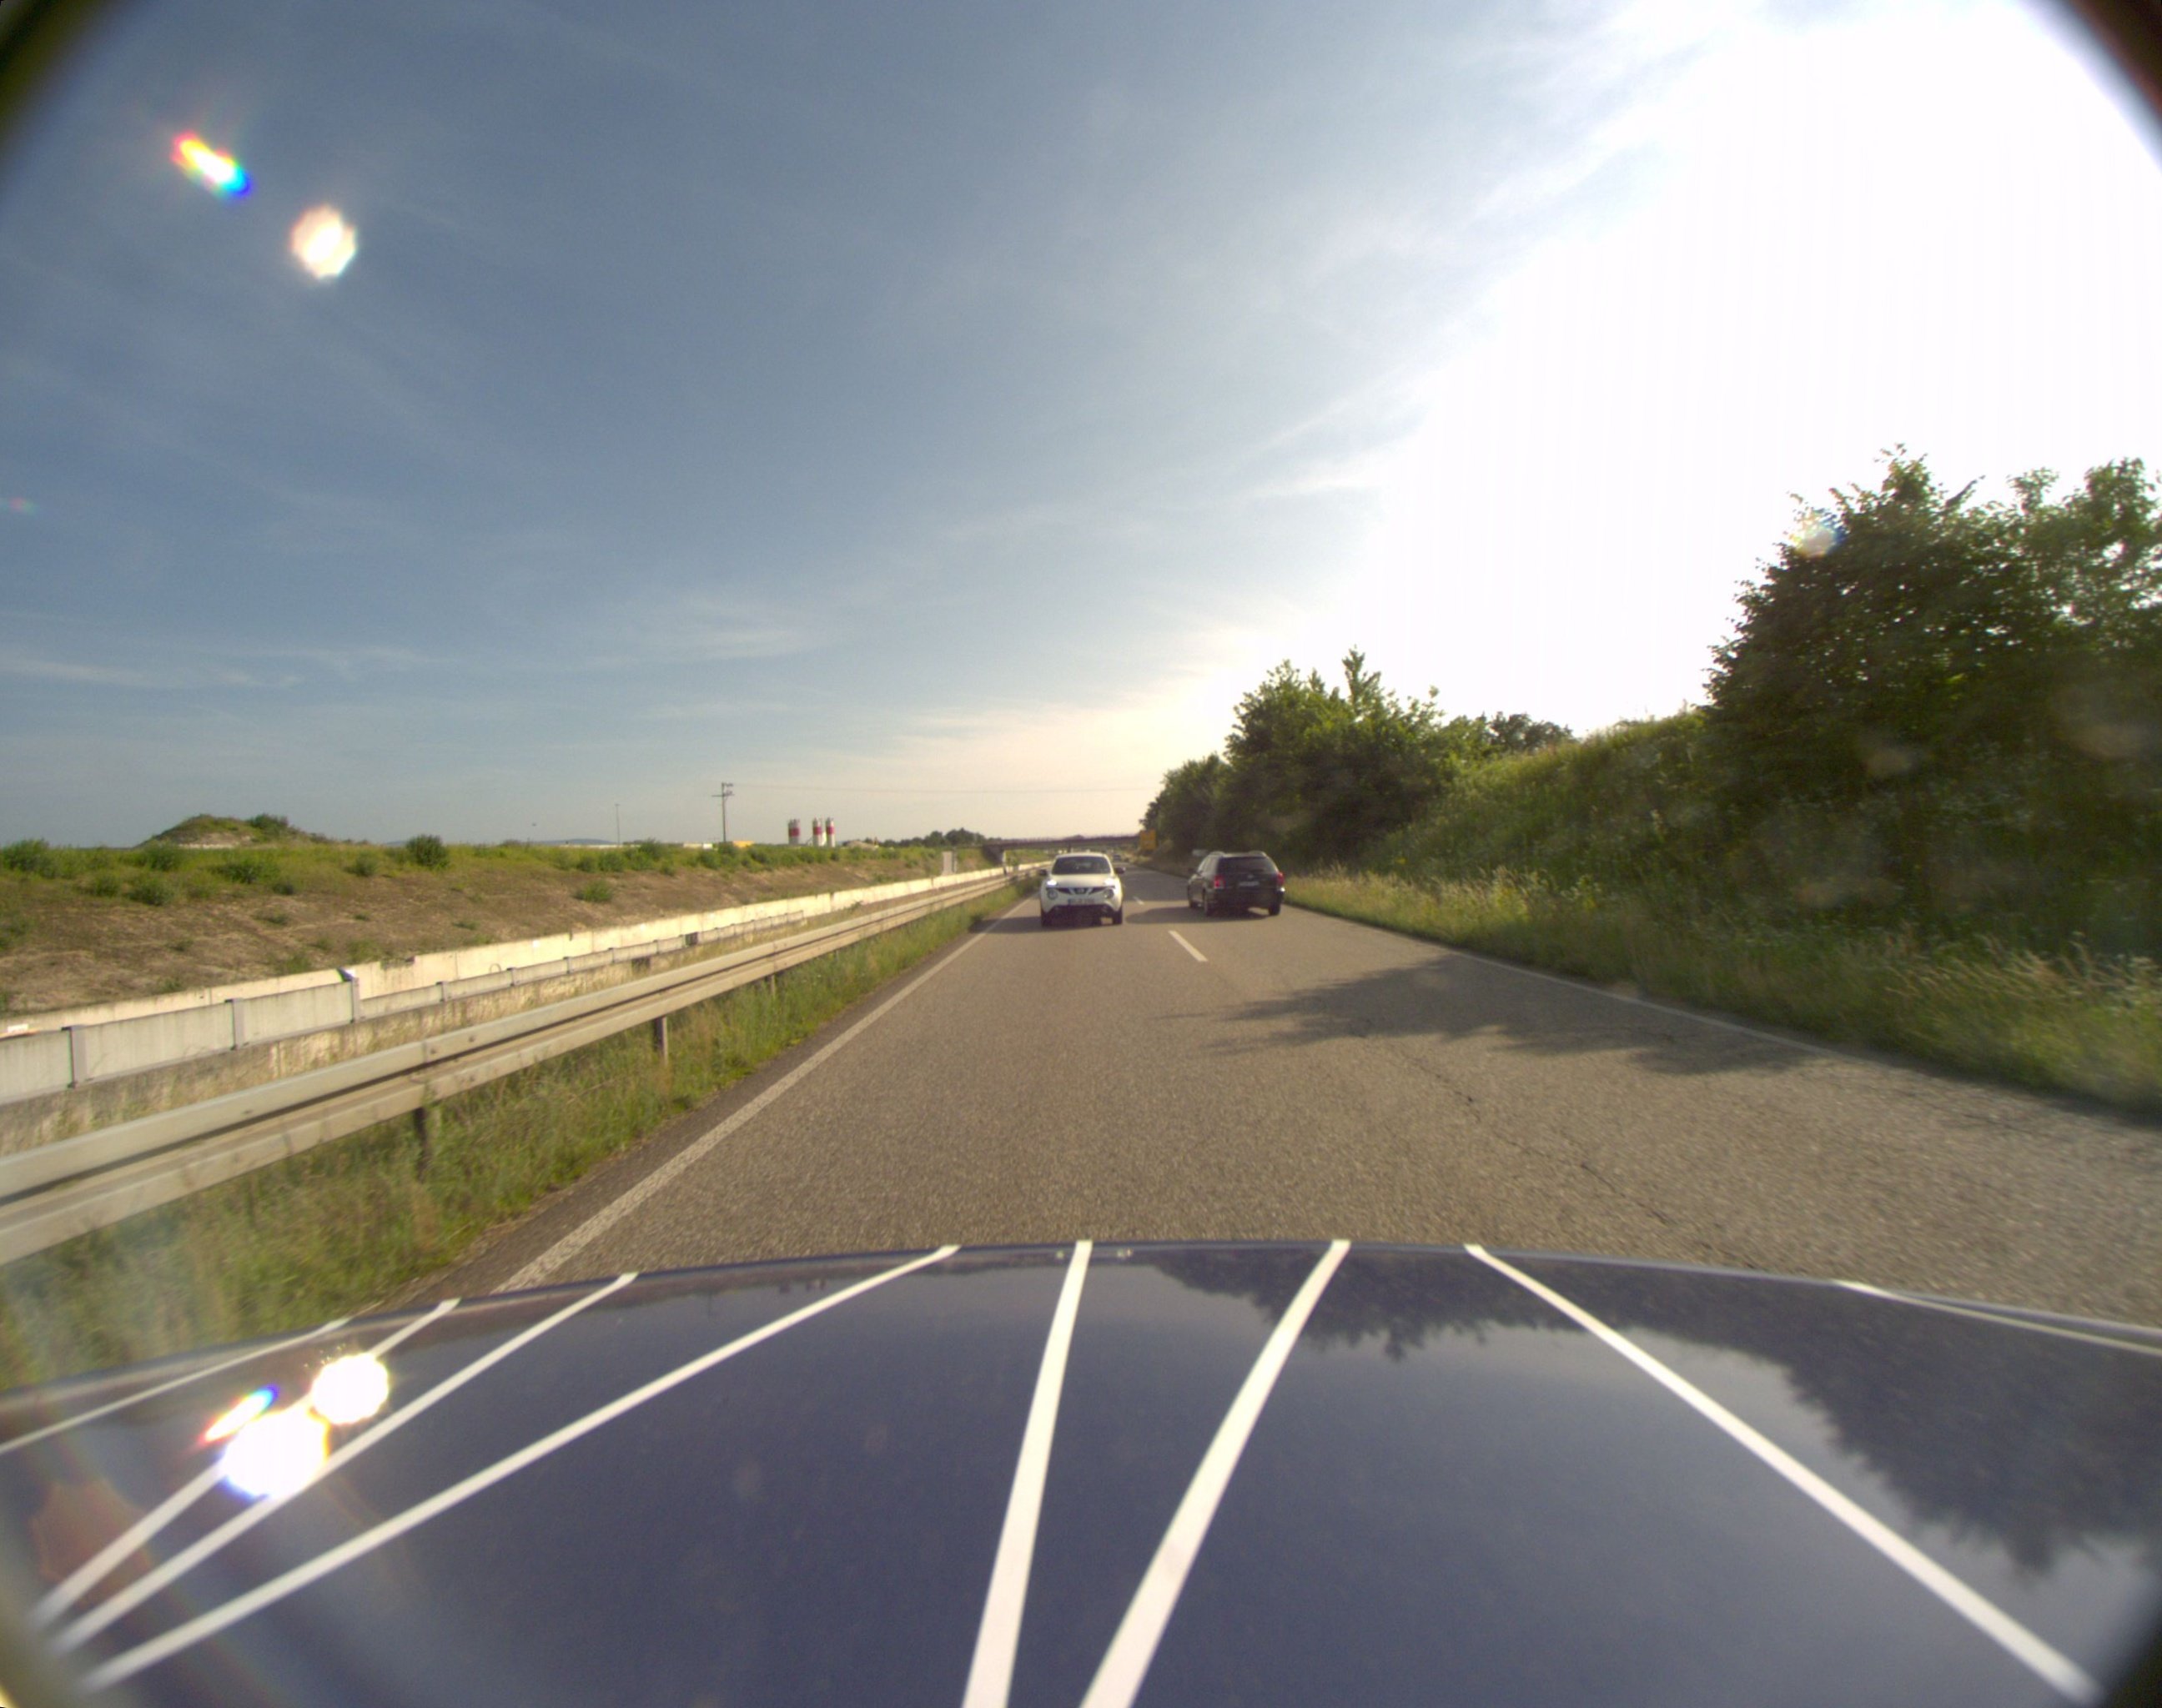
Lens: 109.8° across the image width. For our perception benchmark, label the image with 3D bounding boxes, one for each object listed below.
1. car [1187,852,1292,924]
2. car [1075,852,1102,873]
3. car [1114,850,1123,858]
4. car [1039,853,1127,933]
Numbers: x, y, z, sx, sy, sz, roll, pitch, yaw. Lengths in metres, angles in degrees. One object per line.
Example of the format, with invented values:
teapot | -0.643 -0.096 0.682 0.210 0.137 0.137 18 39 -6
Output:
car | 3.761 0.741 18.756 1.747 1.538 4.312 -1 0 1
car | 0.587 0.633 58.603 1.908 1.512 4.465 -2 0 2
car | 8.008 0.073 161.359 1.749 1.555 4.365 -2 0 0
car | 0.039 0.799 17.914 1.789 1.593 4.571 -1 1 0
